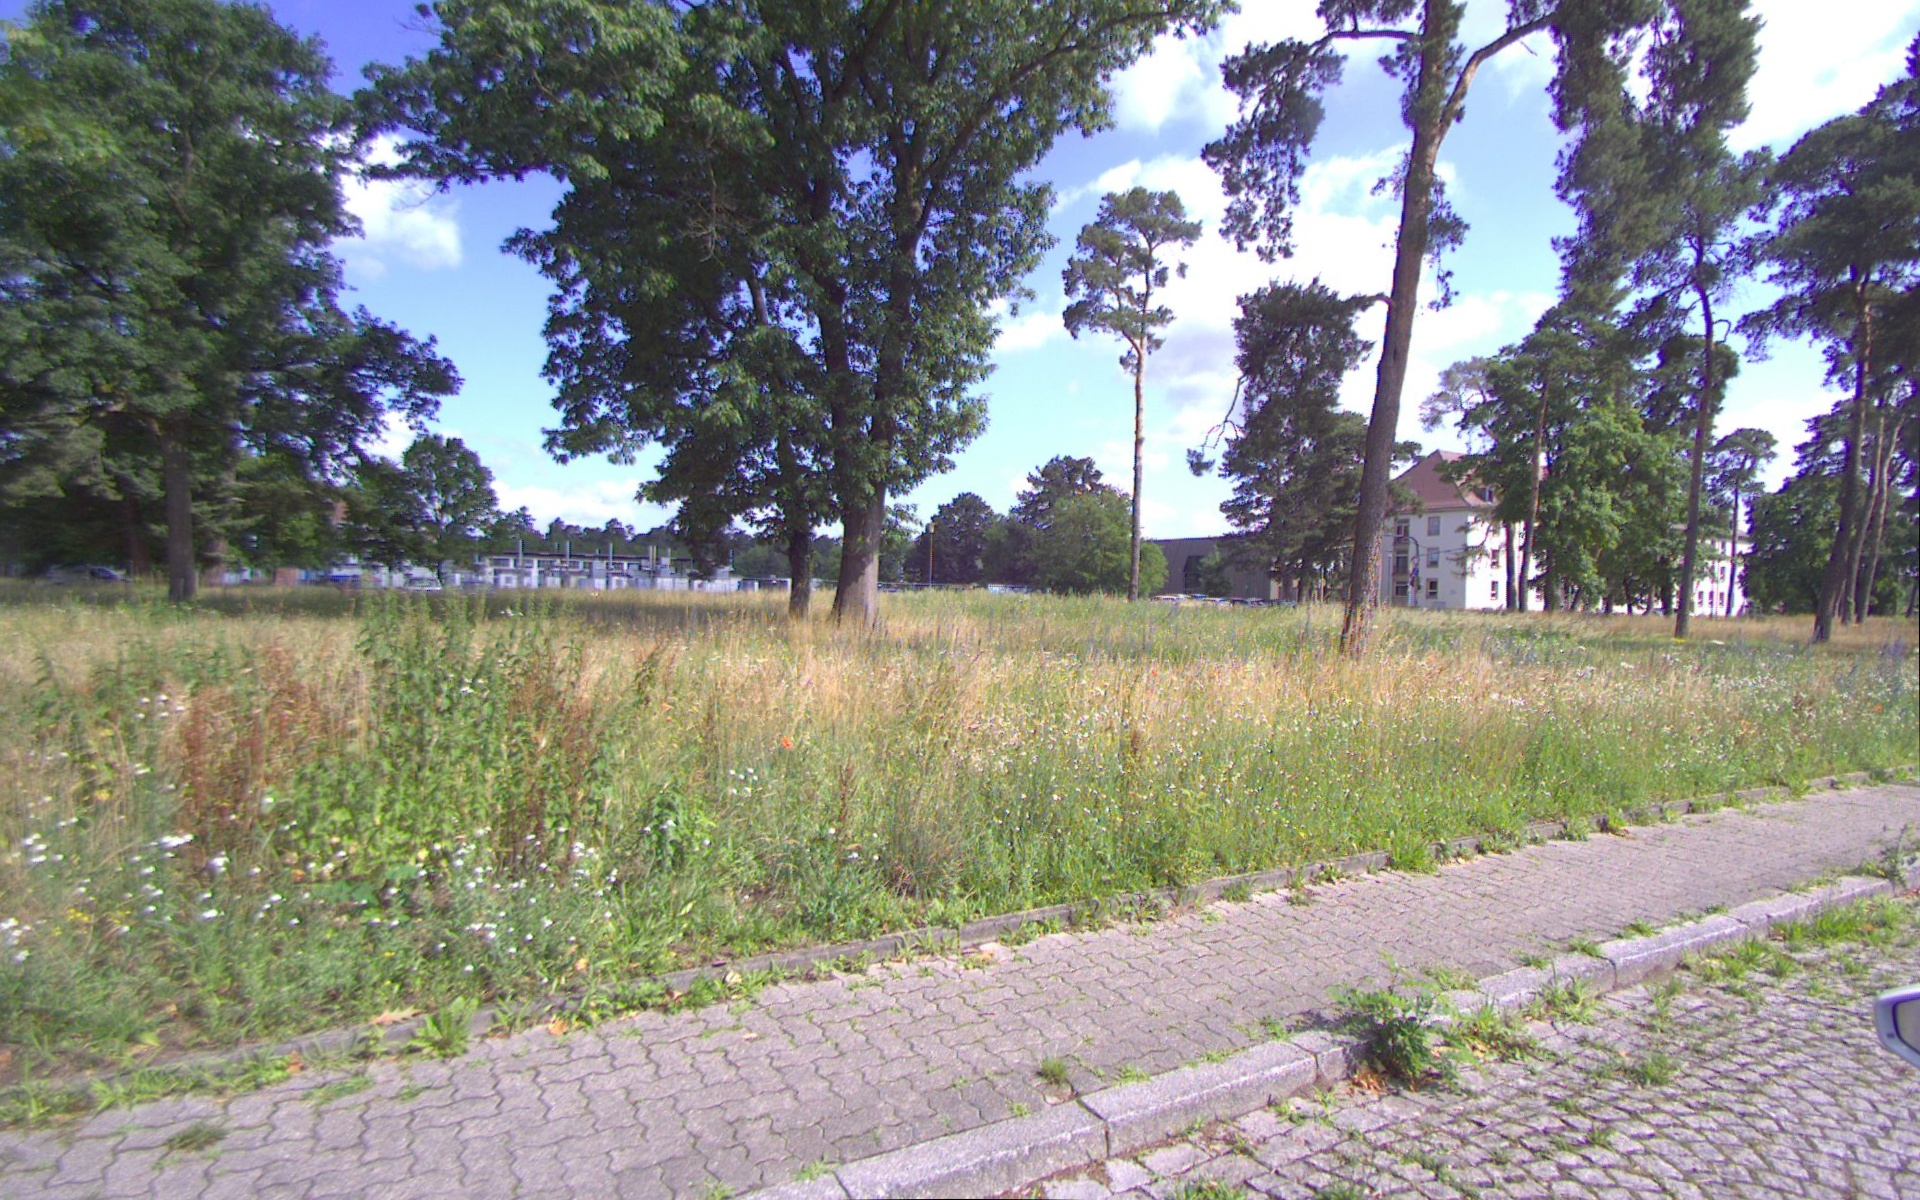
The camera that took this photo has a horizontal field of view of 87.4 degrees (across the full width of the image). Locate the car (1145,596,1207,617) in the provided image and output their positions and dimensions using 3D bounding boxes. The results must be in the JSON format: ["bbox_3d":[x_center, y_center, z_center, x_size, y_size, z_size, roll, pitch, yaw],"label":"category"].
[{"bbox_3d":[14.741,0.431,68.696,1.879,1.367,4.037,1,0,-31],"label":"car"}]

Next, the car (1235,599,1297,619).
[{"bbox_3d":[21.945,0.621,72.133,1.879,1.327,4.045,1,0,-31],"label":"car"}]

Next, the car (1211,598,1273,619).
[{"bbox_3d":[19.876,0.596,71.018,1.879,1.337,4.045,1,0,-31],"label":"car"}]

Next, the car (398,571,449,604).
[{"bbox_3d":[-24.580,-0.555,45.917,1.879,1.431,4.037,1,0,-31],"label":"car"}]

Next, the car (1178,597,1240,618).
[{"bbox_3d":[17.383,0.504,70.308,1.879,1.356,4.045,1,0,-31],"label":"car"}]

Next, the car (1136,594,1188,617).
[{"bbox_3d":[16.358,0.439,81.474,1.879,1.725,4.045,1,0,-31],"label":"car"}]
